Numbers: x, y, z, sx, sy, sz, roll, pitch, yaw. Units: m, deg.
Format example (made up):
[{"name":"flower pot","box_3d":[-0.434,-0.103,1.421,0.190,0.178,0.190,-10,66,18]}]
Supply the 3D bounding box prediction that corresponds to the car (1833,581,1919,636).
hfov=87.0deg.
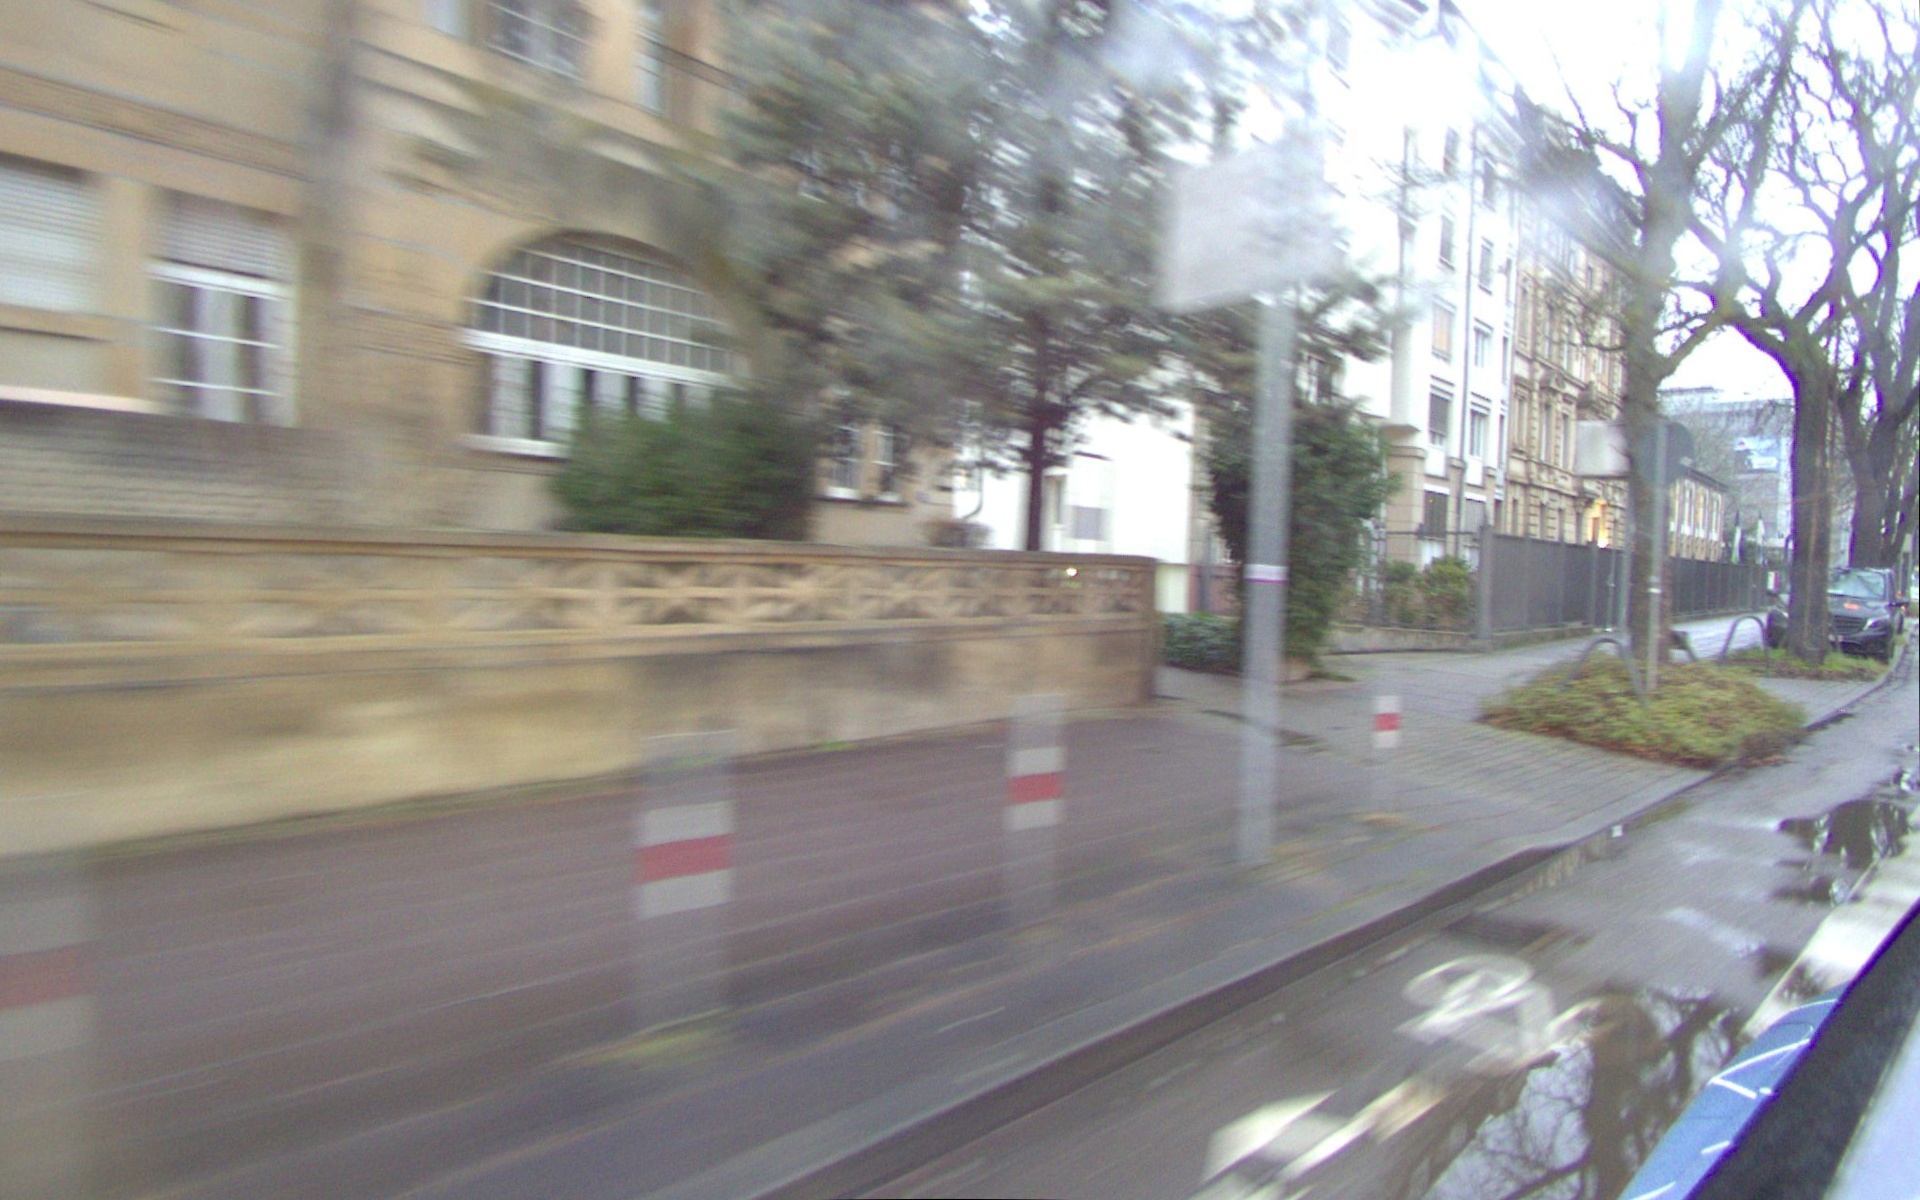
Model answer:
[{"name":"car","box_3d":[25.804,0.202,28.549,1.720,1.431,3.786,-1,0,41]}]

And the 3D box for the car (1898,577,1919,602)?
[{"name":"car","box_3d":[59.045,-0.654,62.328,1.721,1.430,3.786,3,3,41]}]

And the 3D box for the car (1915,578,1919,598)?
[{"name":"car","box_3d":[72.632,-0.884,75.555,1.721,1.430,3.786,3,3,41]}]

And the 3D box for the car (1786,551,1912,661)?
[{"name":"car","box_3d":[17.872,0.082,20.283,1.721,1.970,4.439,-1,0,43]}]
